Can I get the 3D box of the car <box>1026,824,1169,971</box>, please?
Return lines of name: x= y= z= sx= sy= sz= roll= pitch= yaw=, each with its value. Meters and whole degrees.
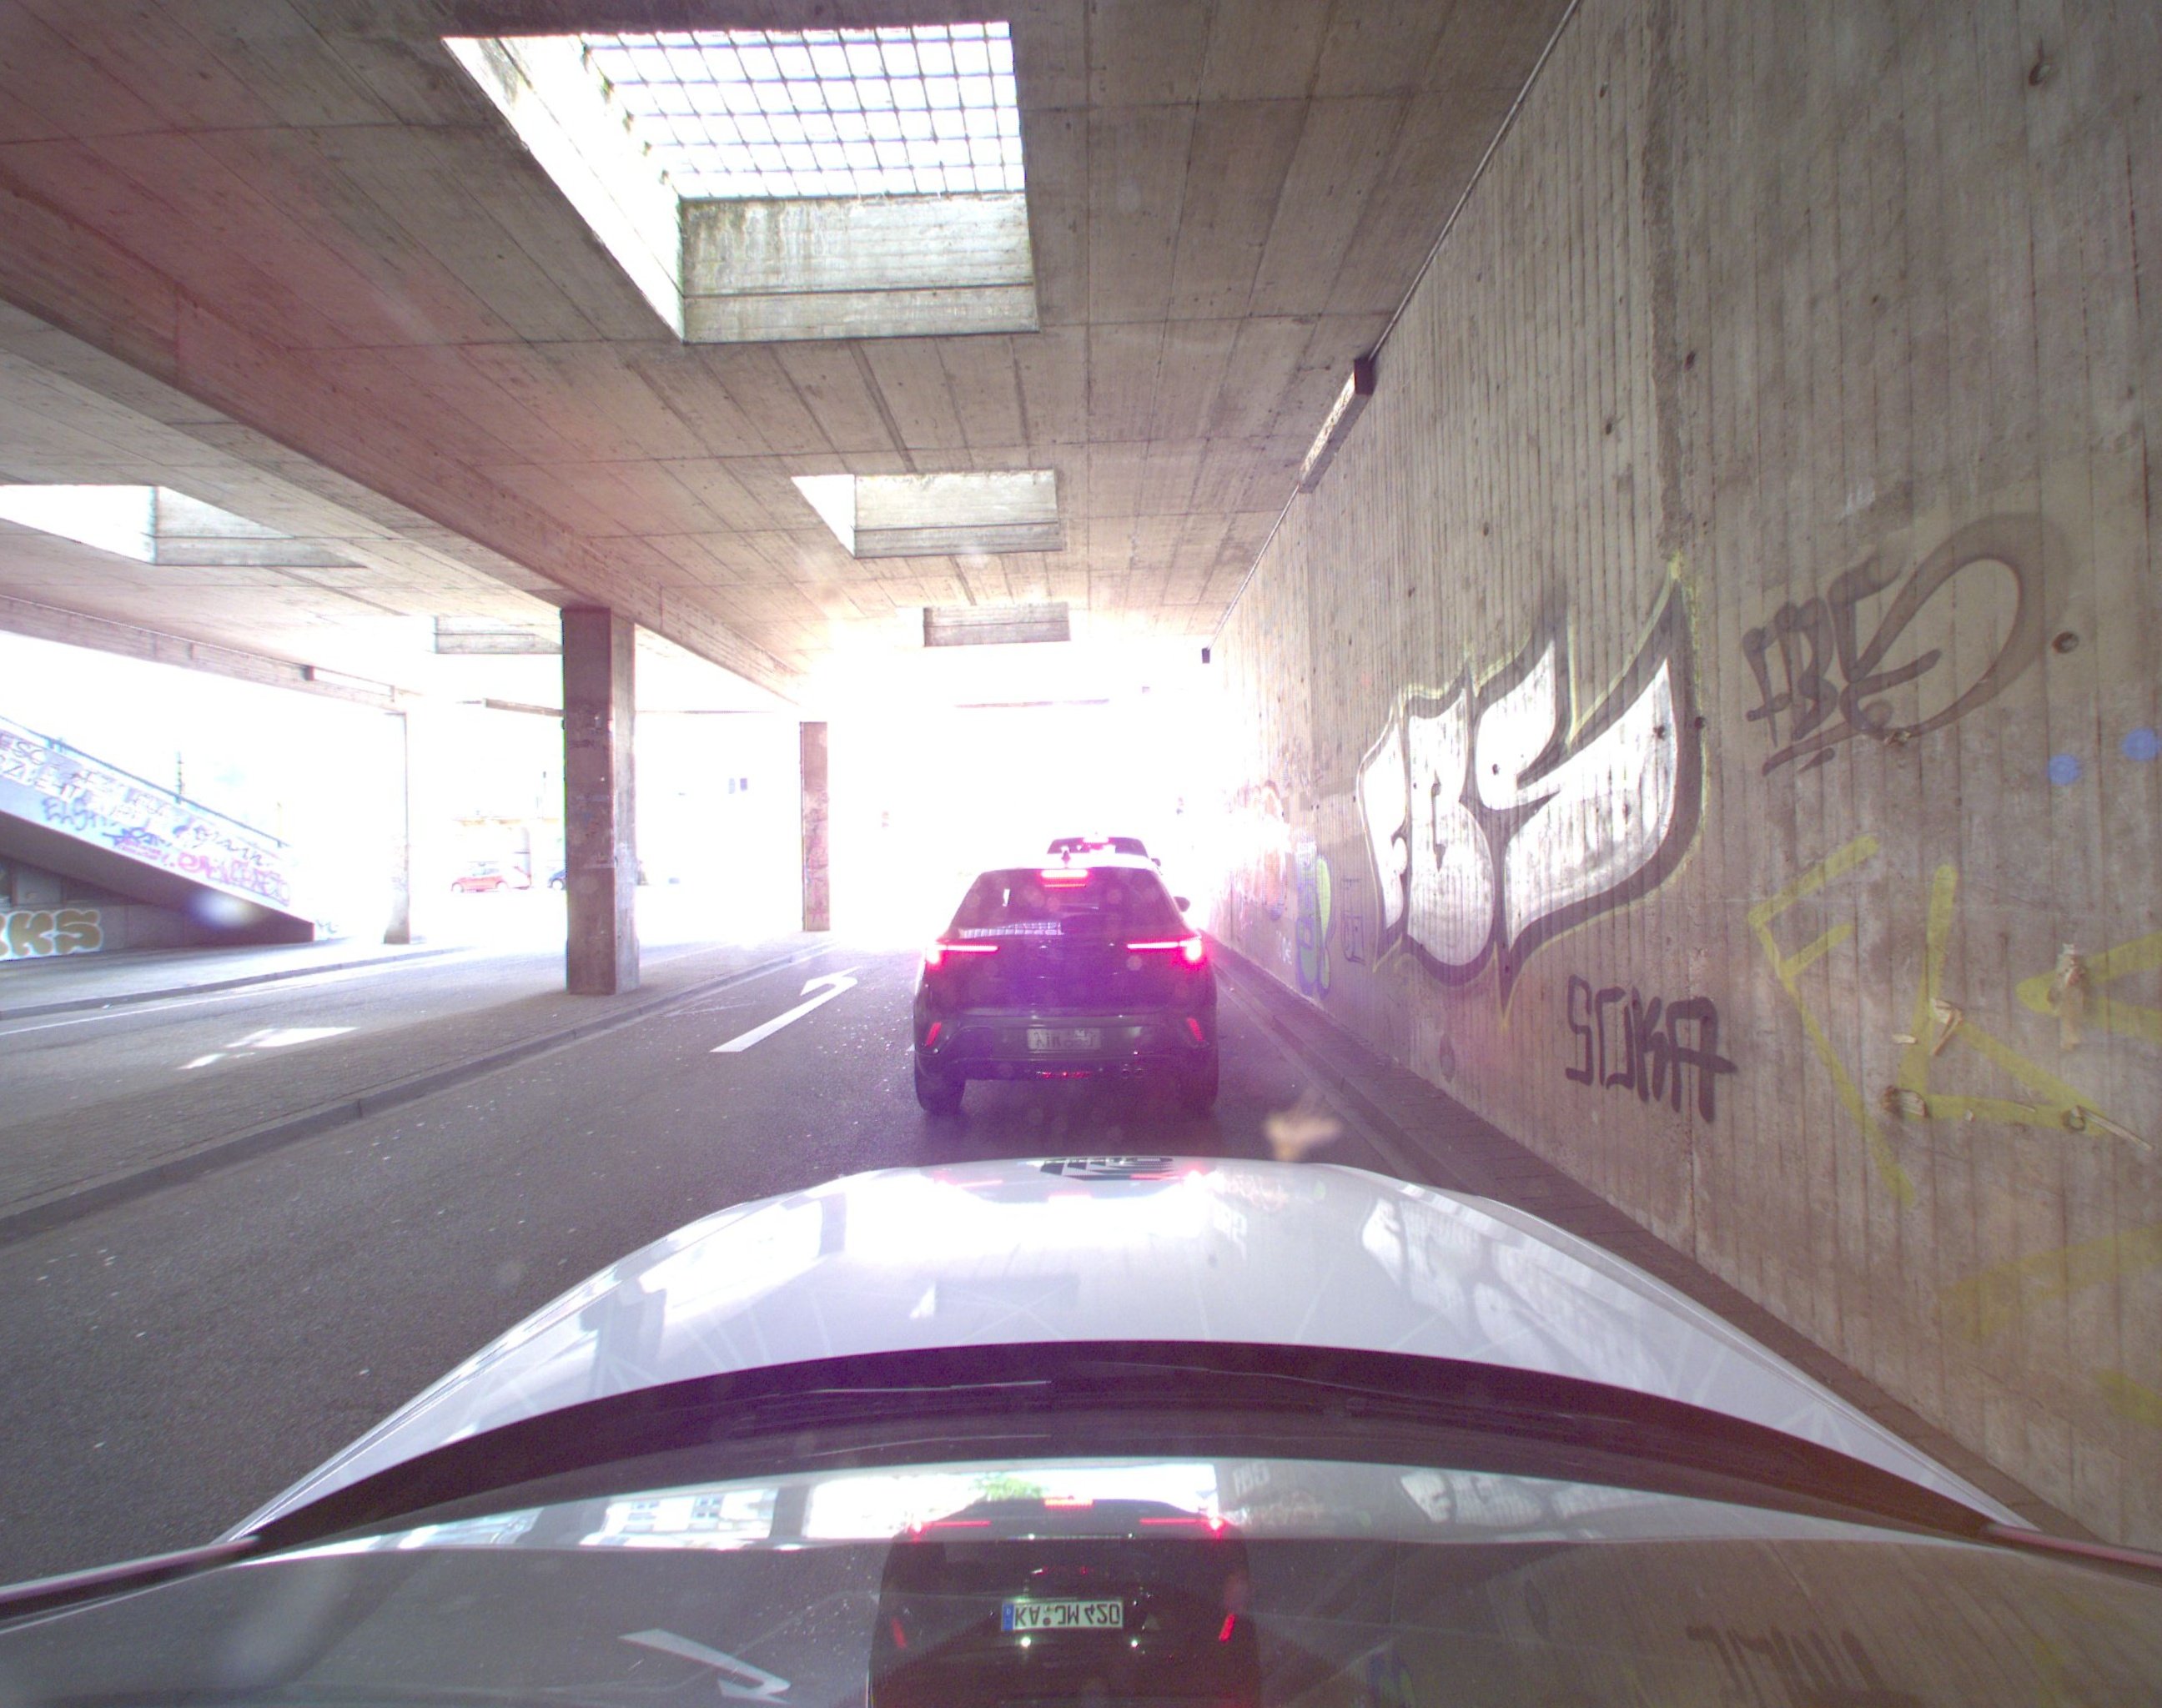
car: x=0.281 y=0.543 z=12.204 sx=1.779 sy=1.833 sz=3.962 roll=-1 pitch=0 yaw=2

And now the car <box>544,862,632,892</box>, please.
car: x=-27.386 y=1.259 z=45.302 sx=3.742 sy=1.508 sz=1.752 roll=-2 pitch=0 yaw=0

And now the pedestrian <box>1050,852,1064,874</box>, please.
pedestrian: x=-1.748 y=0.669 z=59.394 sx=0.729 sy=1.585 sz=0.894 roll=0 pitch=-1 yaw=18

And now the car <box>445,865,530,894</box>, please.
car: x=-32.868 y=1.408 z=45.145 sx=3.519 sy=1.506 sz=1.563 roll=-1 pitch=0 yaw=2

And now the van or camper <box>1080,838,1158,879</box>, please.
van or camper: x=2.065 y=0.246 z=43.530 sx=3.854 sy=2.013 sz=2.005 roll=-1 pitch=0 yaw=9

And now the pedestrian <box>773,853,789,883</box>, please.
pedestrian: x=-17.338 y=0.795 z=47.103 sx=0.719 sy=1.705 sz=0.624 roll=0 pitch=-1 yaw=-2

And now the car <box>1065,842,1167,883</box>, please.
car: x=1.642 y=0.342 z=37.289 sx=4.619 sy=1.641 sz=1.975 roll=-3 pitch=1 yaw=-44

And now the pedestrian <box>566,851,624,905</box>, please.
pedestrian: x=-16.030 y=0.779 z=26.880 sx=1.103 sy=1.737 sz=1.146 roll=-1 pitch=0 yaw=15

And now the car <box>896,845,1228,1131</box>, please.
car: x=-0.028 y=0.703 z=6.295 sx=1.746 sy=1.498 sz=4.002 roll=0 pitch=0 yaw=2
